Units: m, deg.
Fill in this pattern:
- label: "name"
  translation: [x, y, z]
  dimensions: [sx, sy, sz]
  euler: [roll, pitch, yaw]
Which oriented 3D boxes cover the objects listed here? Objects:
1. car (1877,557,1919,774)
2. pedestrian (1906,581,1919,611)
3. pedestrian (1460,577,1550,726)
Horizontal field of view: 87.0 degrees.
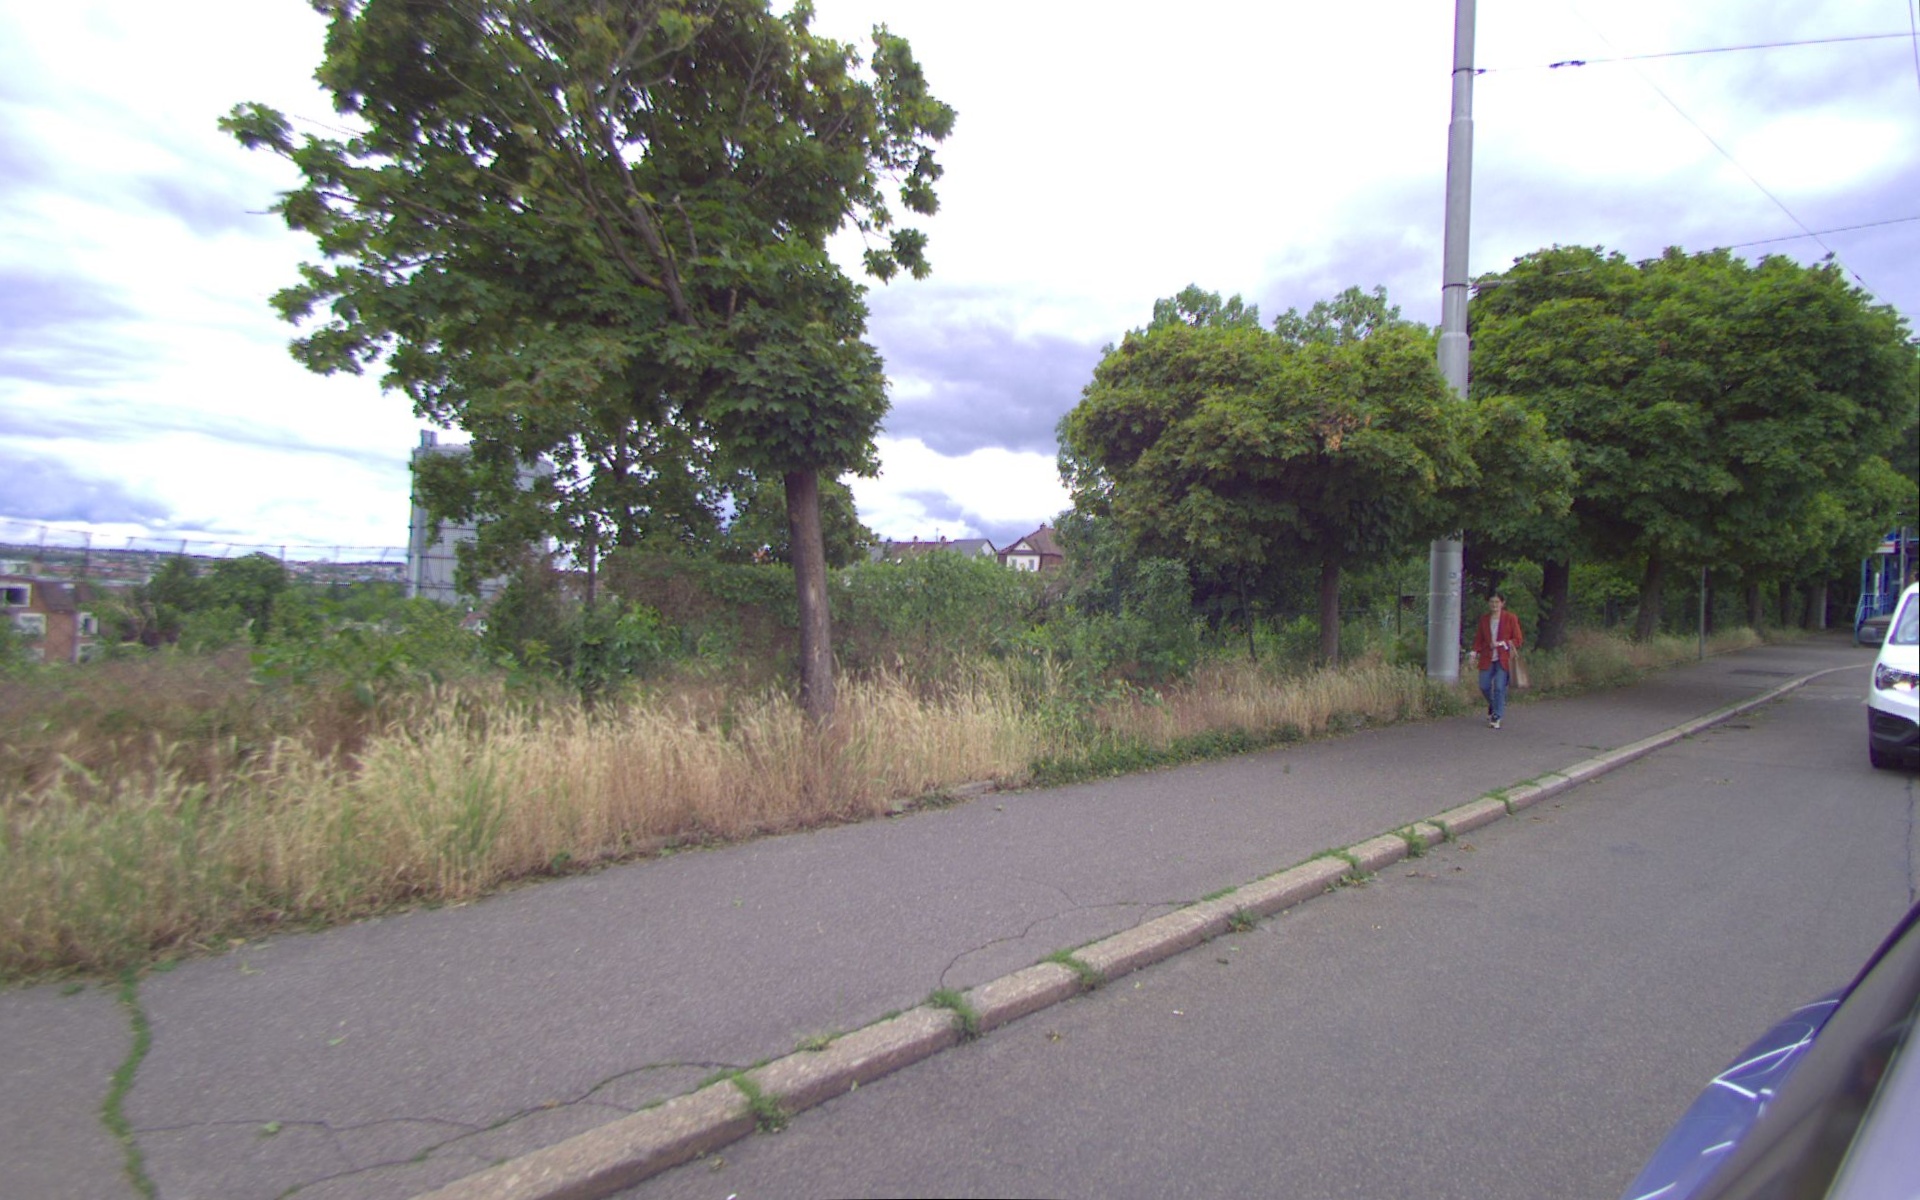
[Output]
- label: "car"
  translation: [10.334, 0.584, 9.835]
  dimensions: [4.345, 1.884, 1.728]
  euler: [0, 1, -43]
- label: "pedestrian"
  translation: [43.716, -0.176, 46.180]
  dimensions: [0.646, 1.331, 0.780]
  euler: [0, 1, -43]
- label: "pedestrian"
  translation: [6.277, 0.561, 11.661]
  dimensions: [0.706, 1.641, 0.715]
  euler: [0, 1, -43]
